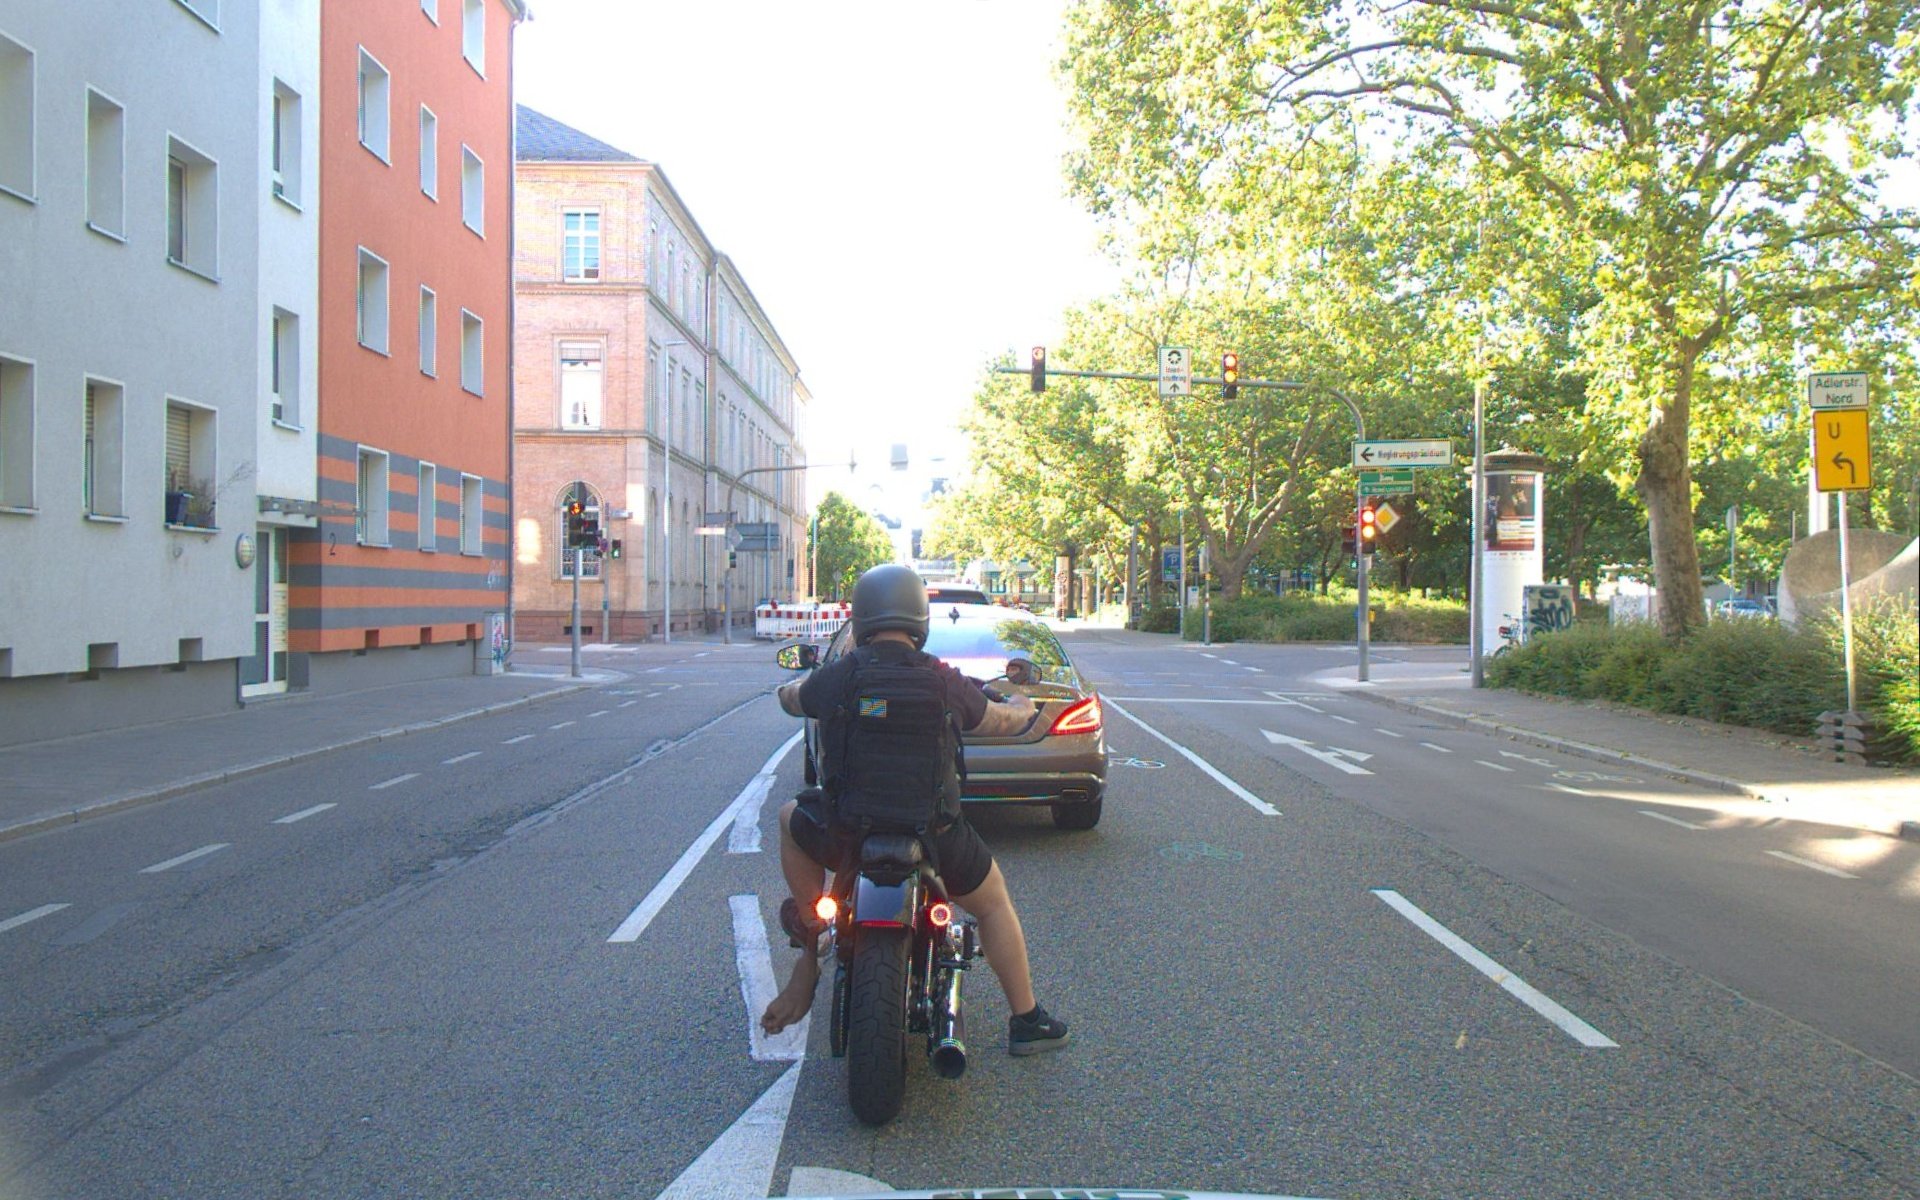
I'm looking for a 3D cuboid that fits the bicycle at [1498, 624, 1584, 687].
[{"bbox_3d":[9.743,0.922,27.755,1.324,1.041,0.363,0,0,0],"label":"bicycle"}]

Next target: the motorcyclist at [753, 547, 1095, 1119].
[{"bbox_3d":[-0.112,0.660,5.413,0.969,1.625,1.403,0,0,-1],"label":"motorcyclist"}]

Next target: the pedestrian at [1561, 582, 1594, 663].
[{"bbox_3d":[14.524,0.526,38.913,0.540,1.881,0.593,0,0,0],"label":"pedestrian"}]

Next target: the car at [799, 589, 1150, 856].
[{"bbox_3d":[-0.113,0.681,11.607,1.909,1.498,4.355,0,0,-7],"label":"car"}]

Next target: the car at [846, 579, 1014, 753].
[{"bbox_3d":[-0.335,0.615,17.770,1.580,1.636,4.327,0,0,-2],"label":"car"}]

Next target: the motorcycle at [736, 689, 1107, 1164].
[{"bbox_3d":[-0.117,0.923,5.567,0.969,1.097,2.451,0,0,-1],"label":"motorcycle"}]
